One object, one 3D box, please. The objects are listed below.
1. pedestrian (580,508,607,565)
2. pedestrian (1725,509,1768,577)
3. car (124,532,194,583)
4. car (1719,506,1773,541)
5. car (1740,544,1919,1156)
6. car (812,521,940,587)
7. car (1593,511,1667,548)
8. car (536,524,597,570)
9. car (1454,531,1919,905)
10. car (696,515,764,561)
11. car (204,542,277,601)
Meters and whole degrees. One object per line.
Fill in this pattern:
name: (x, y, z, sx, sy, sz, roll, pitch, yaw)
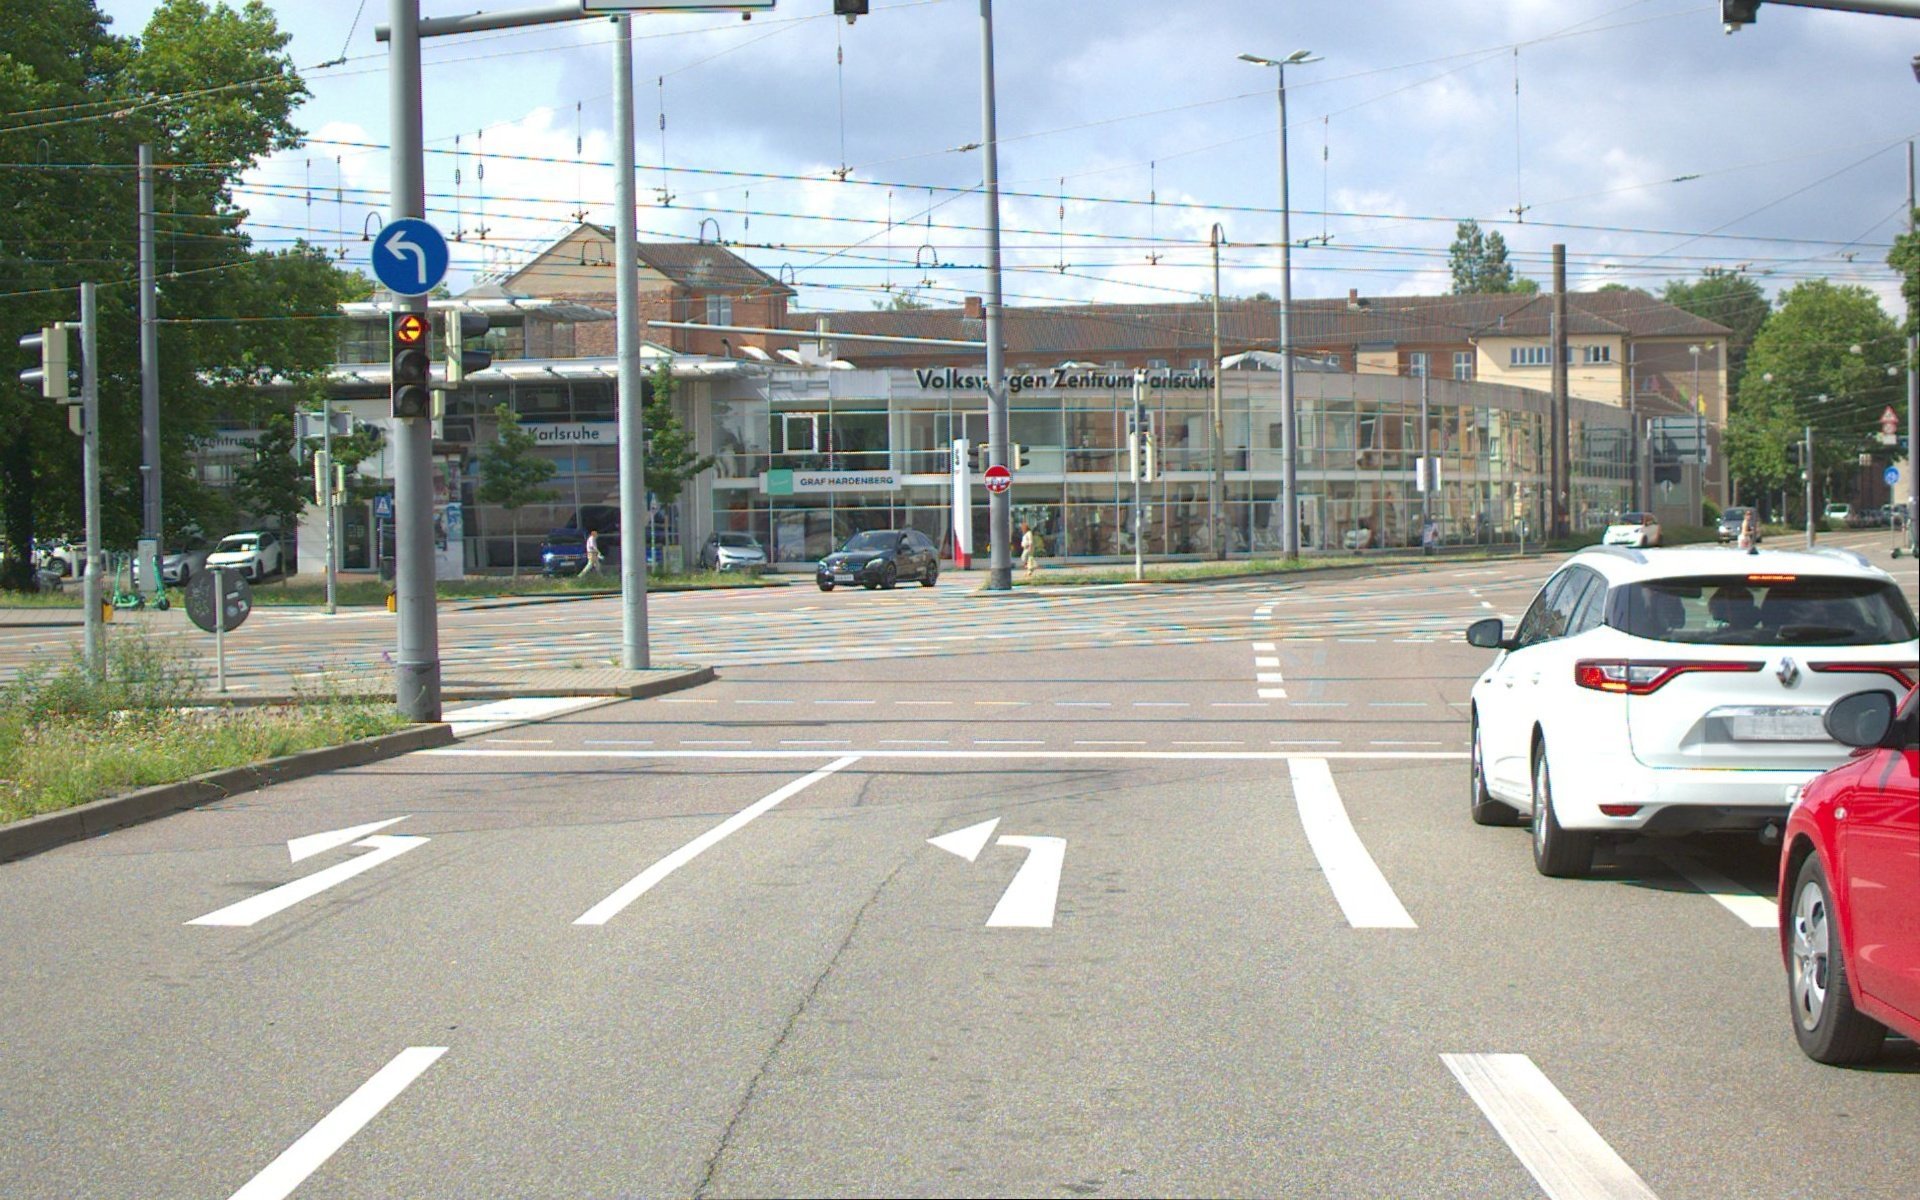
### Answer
pedestrian: (-12.540, -2.162, 117.567, 0.881, 1.941, 0.888, -1, 1, -5)
pedestrian: (17.840, -1.295, 77.969, 0.673, 1.530, 0.674, -2, 1, -38)
car: (-28.486, -1.523, 122.375, 1.797, 1.763, 4.001, -1, 1, -4)
car: (37.108, -3.618, 162.234, 1.995, 1.568, 3.996, 0, 1, 21)
car: (3.215, 0.617, 8.279, 1.816, 1.434, 4.067, 0, 2, 1)
car: (-2.015, -1.141, 83.598, 1.995, 1.525, 3.997, 0, 1, 16)
car: (27.417, -2.885, 140.652, 1.996, 1.437, 3.995, 0, 1, 26)
car: (-13.618, -1.864, 119.247, 1.993, 1.546, 4.079, -1, 1, -5)
car: (3.426, 0.436, 16.032, 1.848, 1.467, 4.335, -1, 1, 4)
car: (-8.143, -2.188, 121.637, 1.993, 1.590, 4.001, -1, 1, -9)
car: (-25.554, -1.037, 122.245, 1.993, 2.007, 4.001, -1, 1, -4)
